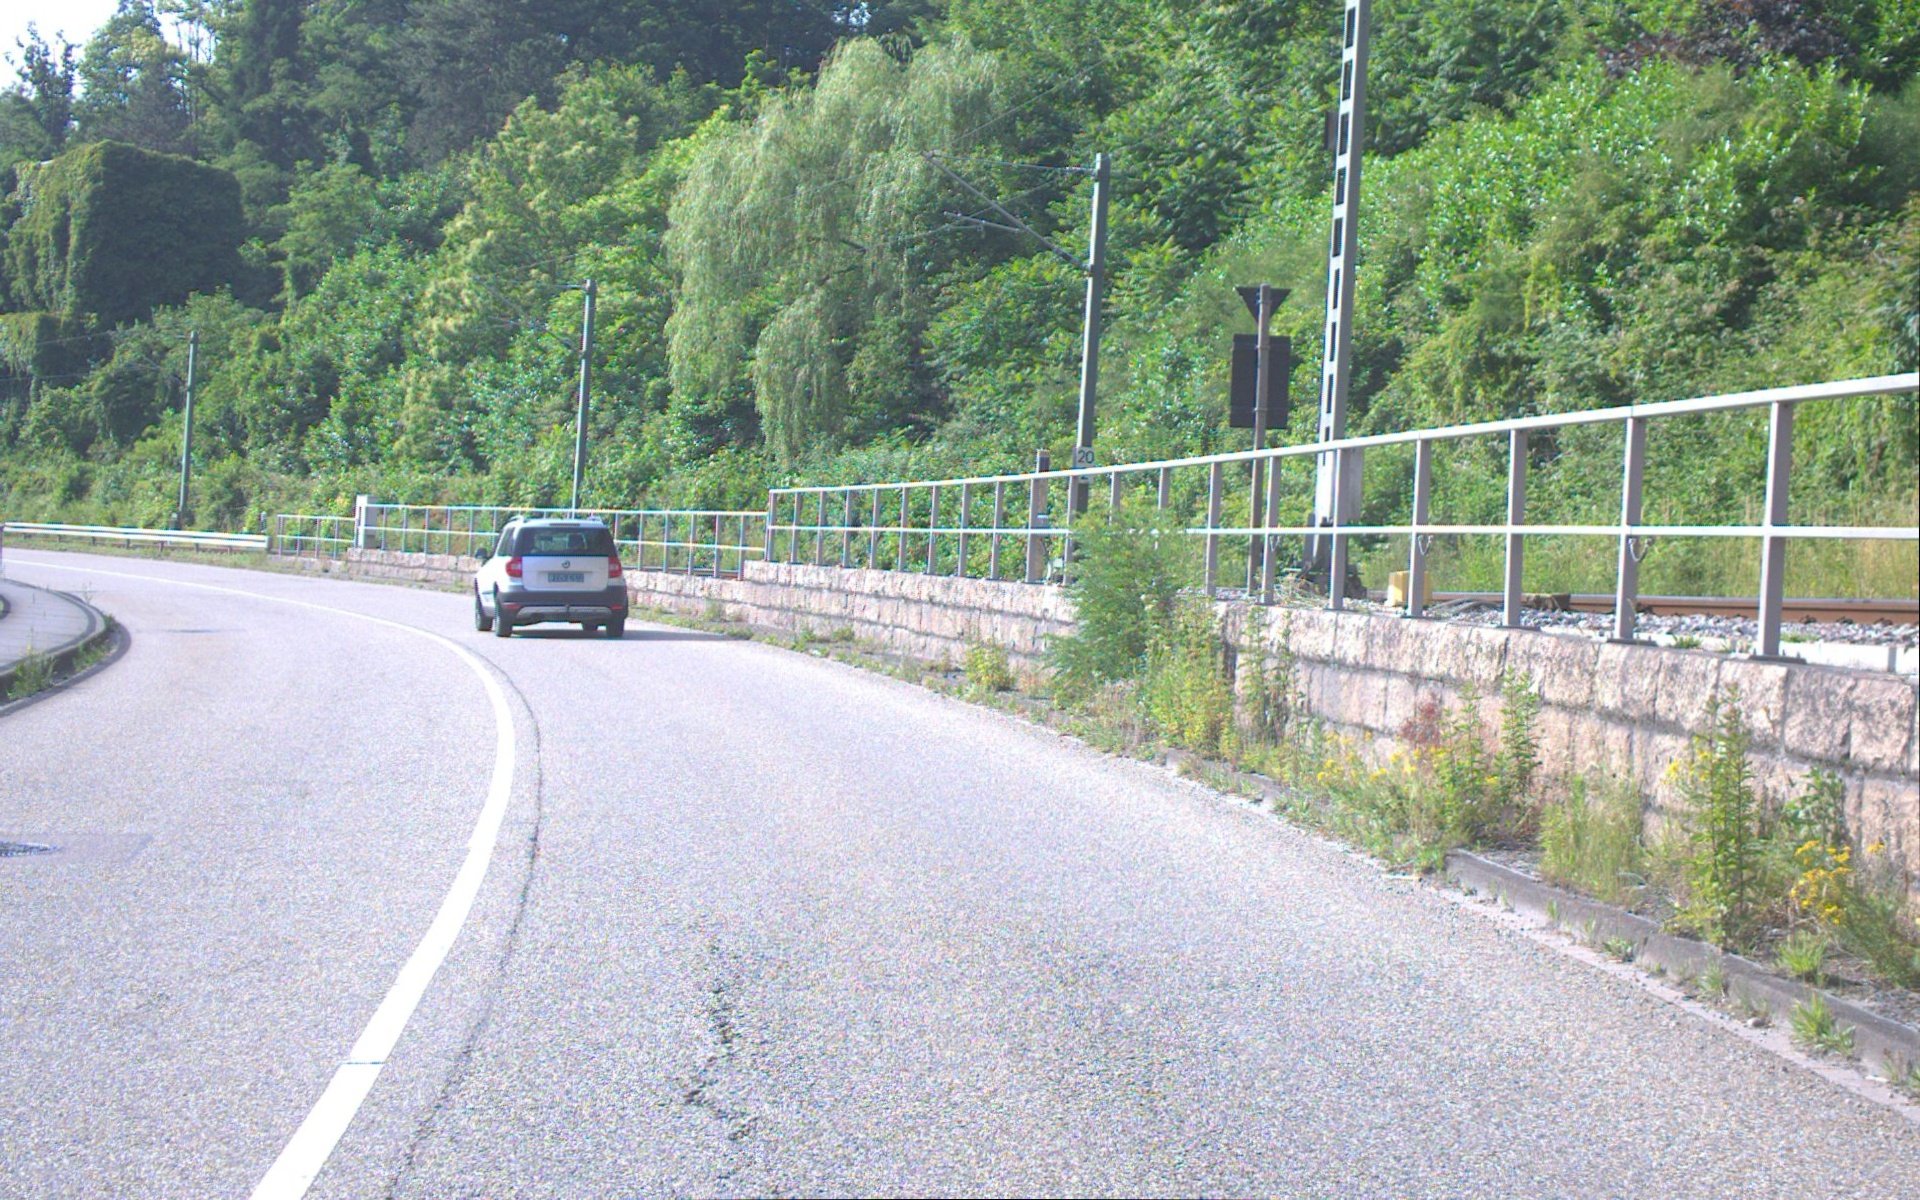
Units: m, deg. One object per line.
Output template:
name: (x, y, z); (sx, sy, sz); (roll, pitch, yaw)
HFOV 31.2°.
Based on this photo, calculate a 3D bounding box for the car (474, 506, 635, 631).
car: (-5.733, -0.479, 48.235); (1.872, 1.650, 4.001); (1, 1, -12)
